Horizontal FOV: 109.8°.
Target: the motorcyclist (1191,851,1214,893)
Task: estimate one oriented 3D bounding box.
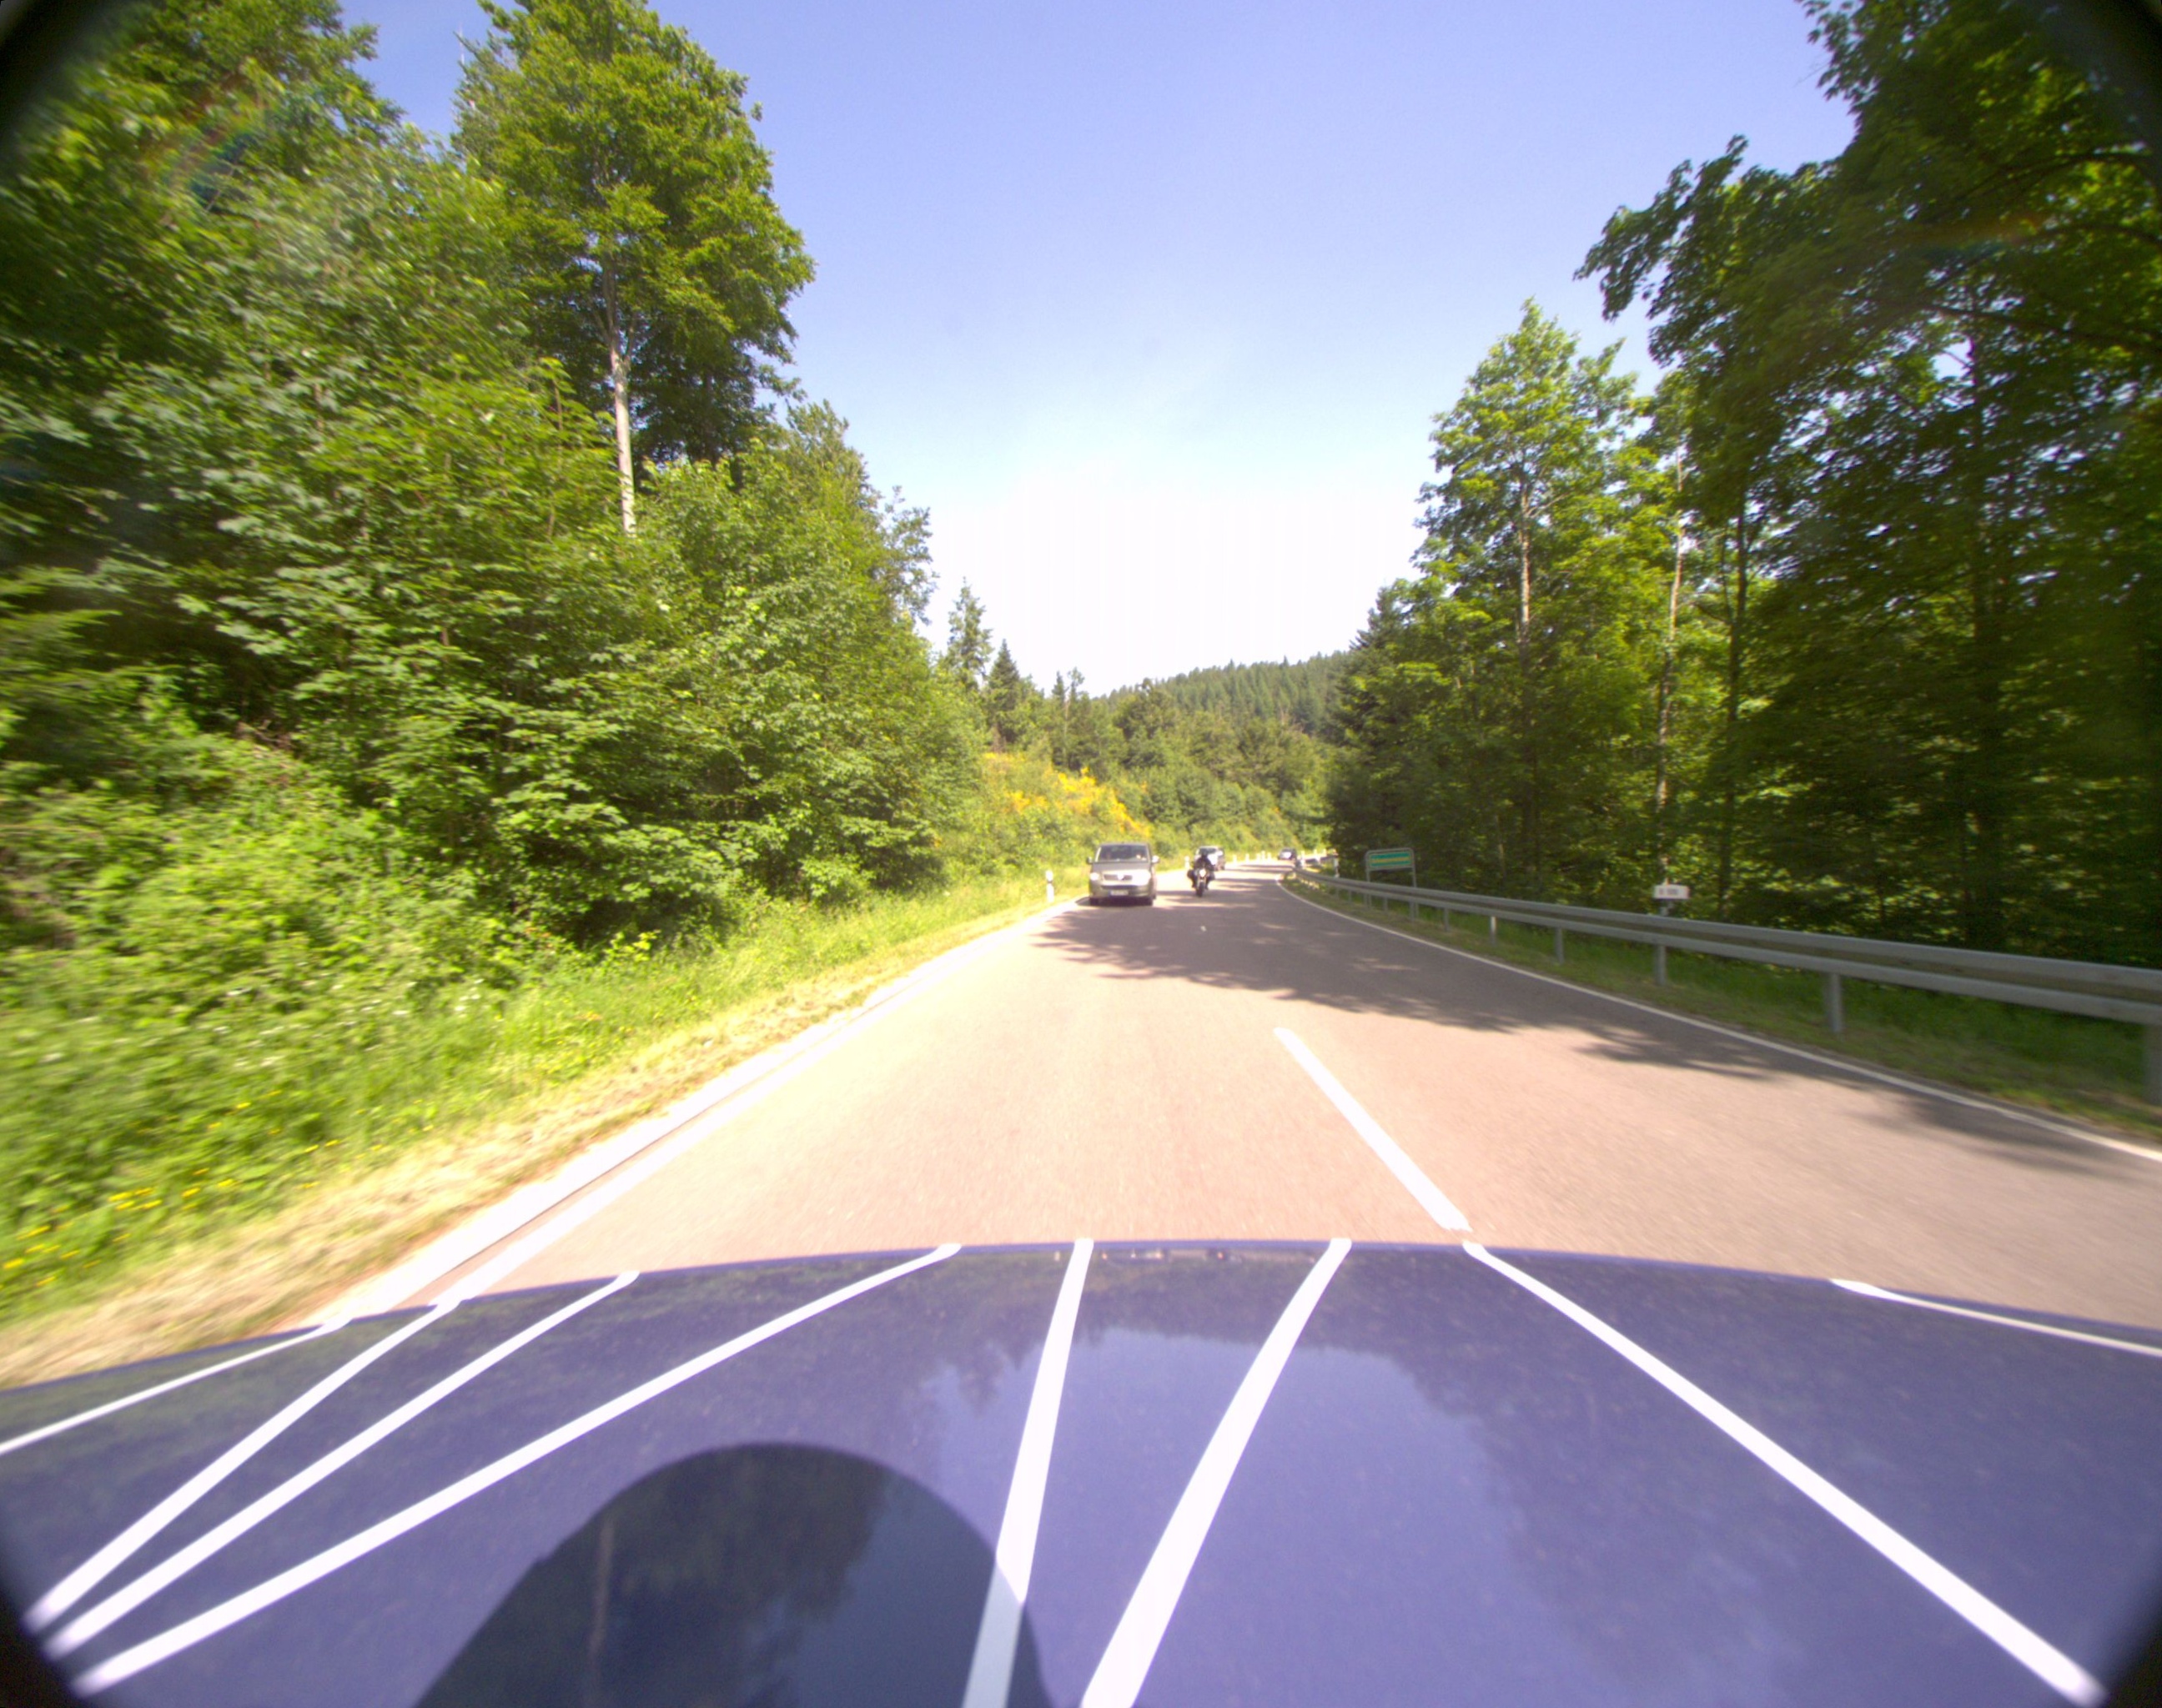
[{"bbox_3d":[4.314,0.635,26.943,0.716,1.422,1.000,-2,1,12],"label":"motorcyclist"}]

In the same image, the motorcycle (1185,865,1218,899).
[{"bbox_3d":[4.284,0.977,26.987,1.109,1.117,1.962,0,1,10],"label":"motorcycle"}]

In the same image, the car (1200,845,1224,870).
[{"bbox_3d":[10.013,0.235,58.059,1.651,1.749,3.797,0,1,12],"label":"car"}]

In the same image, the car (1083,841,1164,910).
[{"bbox_3d":[1.464,0.603,24.017,2.028,1.940,4.902,0,0,9],"label":"car"}]

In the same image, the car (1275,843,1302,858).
[{"bbox_3d":[25.004,-0.380,91.551,1.994,1.634,4.007,0,2,34],"label":"car"}]
